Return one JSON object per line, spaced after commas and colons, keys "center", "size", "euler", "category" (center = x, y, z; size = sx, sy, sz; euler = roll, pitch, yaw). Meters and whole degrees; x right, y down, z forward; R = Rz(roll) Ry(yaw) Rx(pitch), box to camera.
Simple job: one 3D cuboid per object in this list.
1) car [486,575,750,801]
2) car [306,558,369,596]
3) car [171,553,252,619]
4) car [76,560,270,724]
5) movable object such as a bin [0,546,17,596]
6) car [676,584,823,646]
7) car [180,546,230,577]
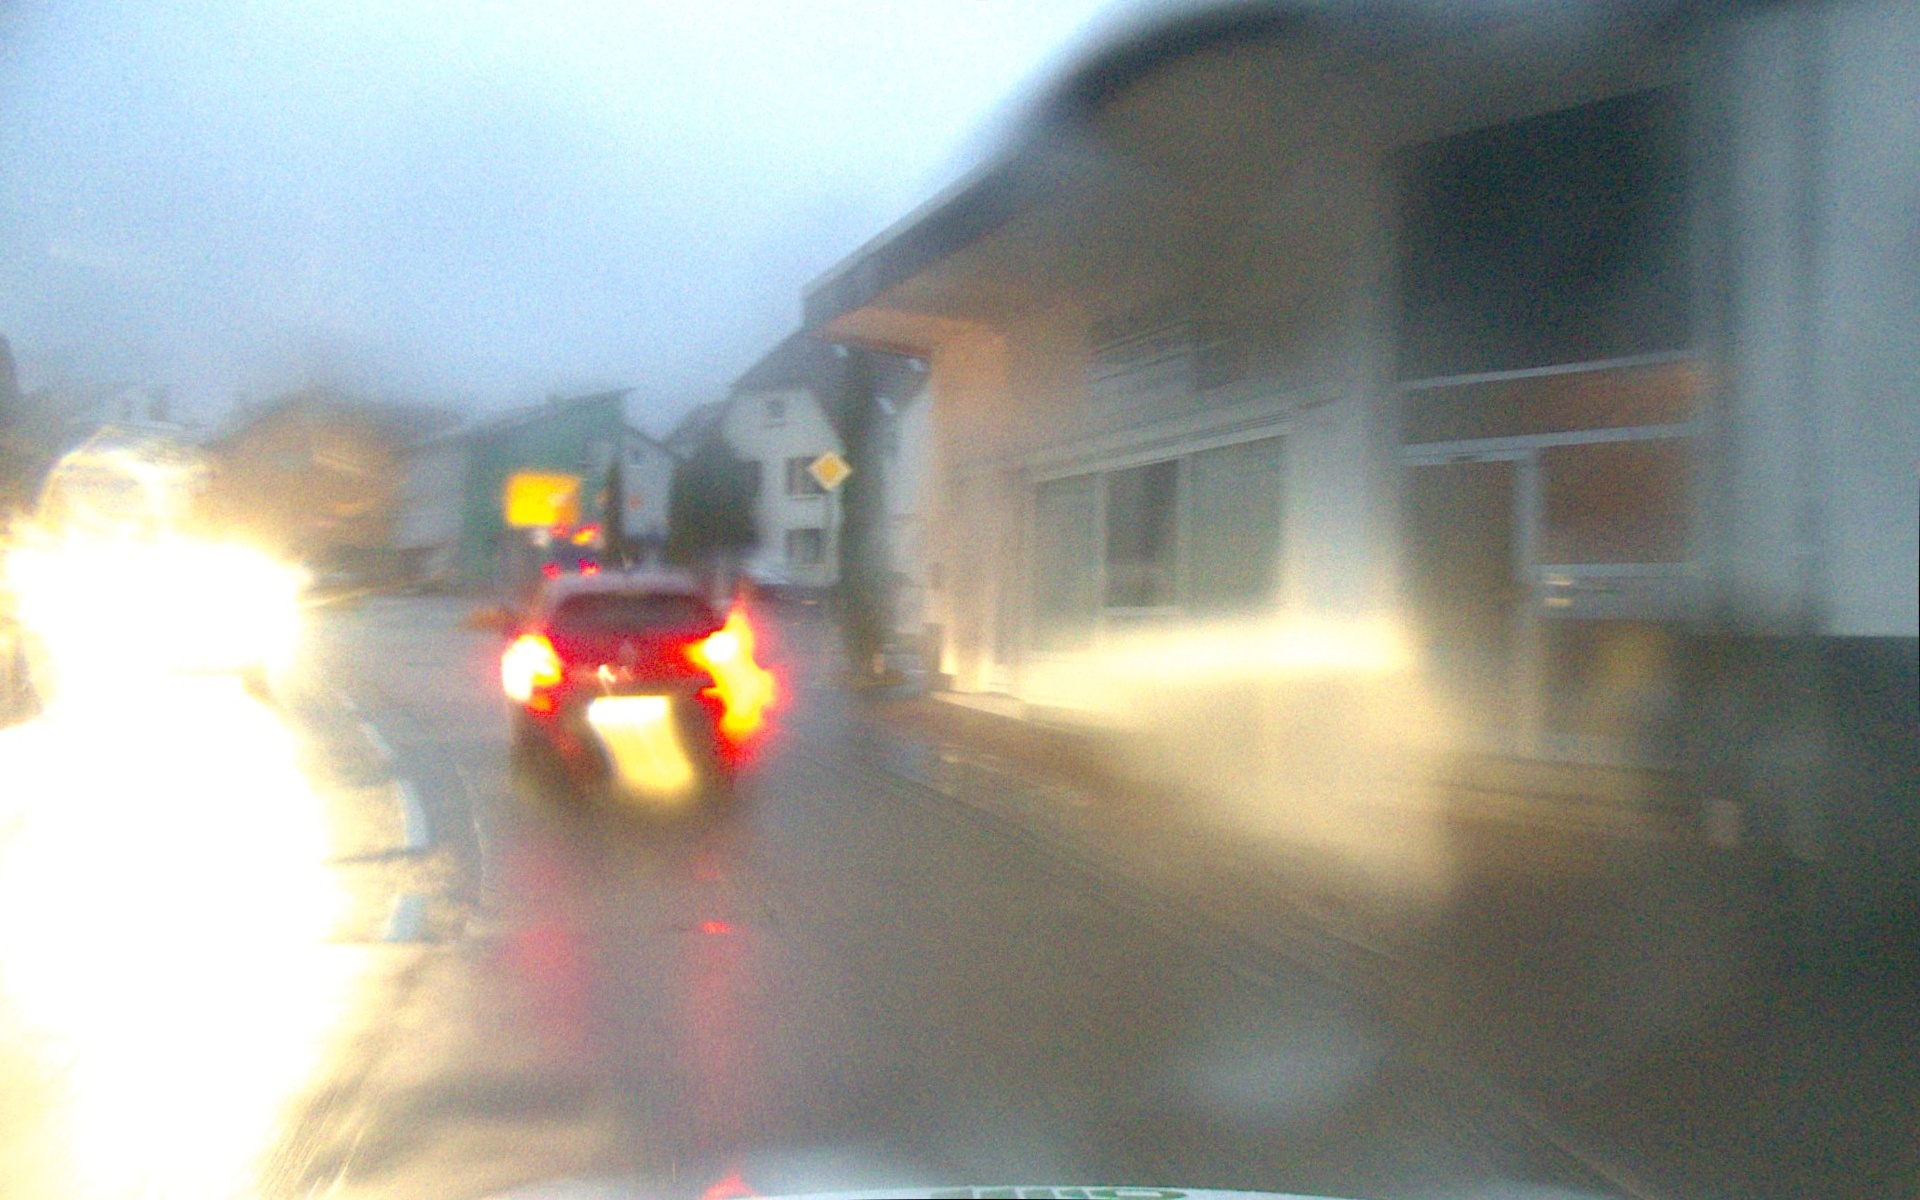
{"center": [-2.804, 0.572, 12.993], "size": [1.523, 1.491, 3.677], "euler": [1, 1, -20], "category": "car"}
{"center": [-30.311, -1.135, 80.514], "size": [1.976, 1.672, 3.953], "euler": [2, 1, -34], "category": "car"}
{"center": [-20.683, -0.411, 45.847], "size": [1.886, 1.682, 3.972], "euler": [2, 1, -23], "category": "car"}
{"center": [-9.290, 0.385, 19.589], "size": [1.854, 1.640, 4.566], "euler": [0, 2, -25], "category": "car"}
{"center": [-30.645, -0.945, 52.567], "size": [1.082, 1.570, 1.278], "euler": [1, 1, -26], "category": "movable object such as a bin"}
{"center": [-6.259, 0.404, 48.952], "size": [4.467, 1.656, 1.806], "euler": [1, 2, 40], "category": "car"}
{"center": [-43.525, -2.240, 95.275], "size": [1.976, 1.672, 3.953], "euler": [2, 1, -34], "category": "car"}
